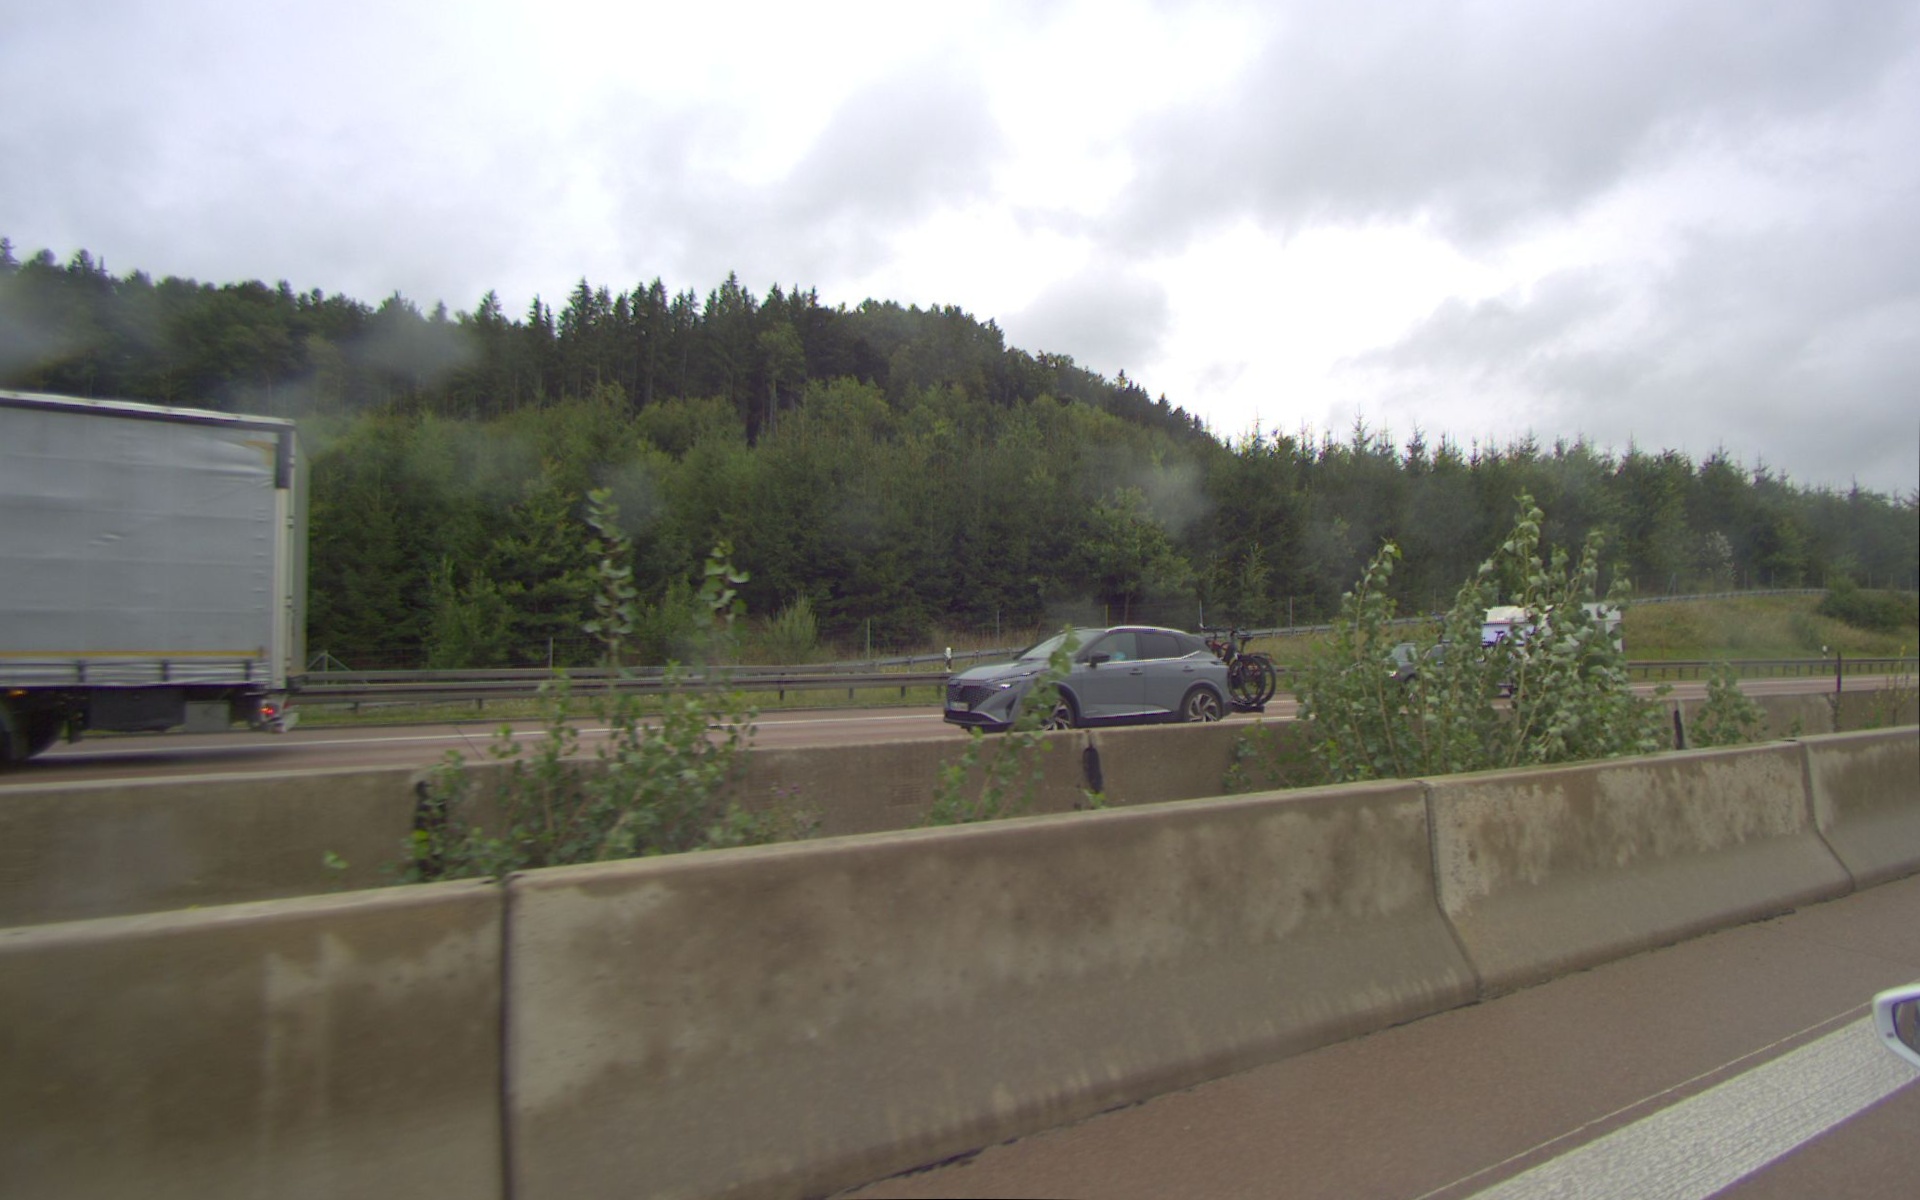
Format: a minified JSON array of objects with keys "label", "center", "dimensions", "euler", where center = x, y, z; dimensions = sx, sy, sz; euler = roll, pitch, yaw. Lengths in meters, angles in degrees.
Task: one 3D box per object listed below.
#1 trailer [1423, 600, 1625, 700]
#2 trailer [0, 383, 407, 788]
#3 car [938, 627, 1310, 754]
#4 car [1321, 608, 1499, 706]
[{"label":"trailer","center":[15.110,1.323,26.838],"dimensions":[5.374,2.443,2.266],"euler":[1,-3,-30]},{"label":"trailer","center":[-12.920,-0.215,10.224],"dimensions":[12.608,4.193,2.726],"euler":[3,-3,-31]},{"label":"car","center":[2.526,1.223,14.686],"dimensions":[5.610,1.578,1.684],"euler":[1,-3,-30]},{"label":"car","center":[10.888,1.345,24.233],"dimensions":[4.378,2.181,1.749],"euler":[1,-3,-31]}]
